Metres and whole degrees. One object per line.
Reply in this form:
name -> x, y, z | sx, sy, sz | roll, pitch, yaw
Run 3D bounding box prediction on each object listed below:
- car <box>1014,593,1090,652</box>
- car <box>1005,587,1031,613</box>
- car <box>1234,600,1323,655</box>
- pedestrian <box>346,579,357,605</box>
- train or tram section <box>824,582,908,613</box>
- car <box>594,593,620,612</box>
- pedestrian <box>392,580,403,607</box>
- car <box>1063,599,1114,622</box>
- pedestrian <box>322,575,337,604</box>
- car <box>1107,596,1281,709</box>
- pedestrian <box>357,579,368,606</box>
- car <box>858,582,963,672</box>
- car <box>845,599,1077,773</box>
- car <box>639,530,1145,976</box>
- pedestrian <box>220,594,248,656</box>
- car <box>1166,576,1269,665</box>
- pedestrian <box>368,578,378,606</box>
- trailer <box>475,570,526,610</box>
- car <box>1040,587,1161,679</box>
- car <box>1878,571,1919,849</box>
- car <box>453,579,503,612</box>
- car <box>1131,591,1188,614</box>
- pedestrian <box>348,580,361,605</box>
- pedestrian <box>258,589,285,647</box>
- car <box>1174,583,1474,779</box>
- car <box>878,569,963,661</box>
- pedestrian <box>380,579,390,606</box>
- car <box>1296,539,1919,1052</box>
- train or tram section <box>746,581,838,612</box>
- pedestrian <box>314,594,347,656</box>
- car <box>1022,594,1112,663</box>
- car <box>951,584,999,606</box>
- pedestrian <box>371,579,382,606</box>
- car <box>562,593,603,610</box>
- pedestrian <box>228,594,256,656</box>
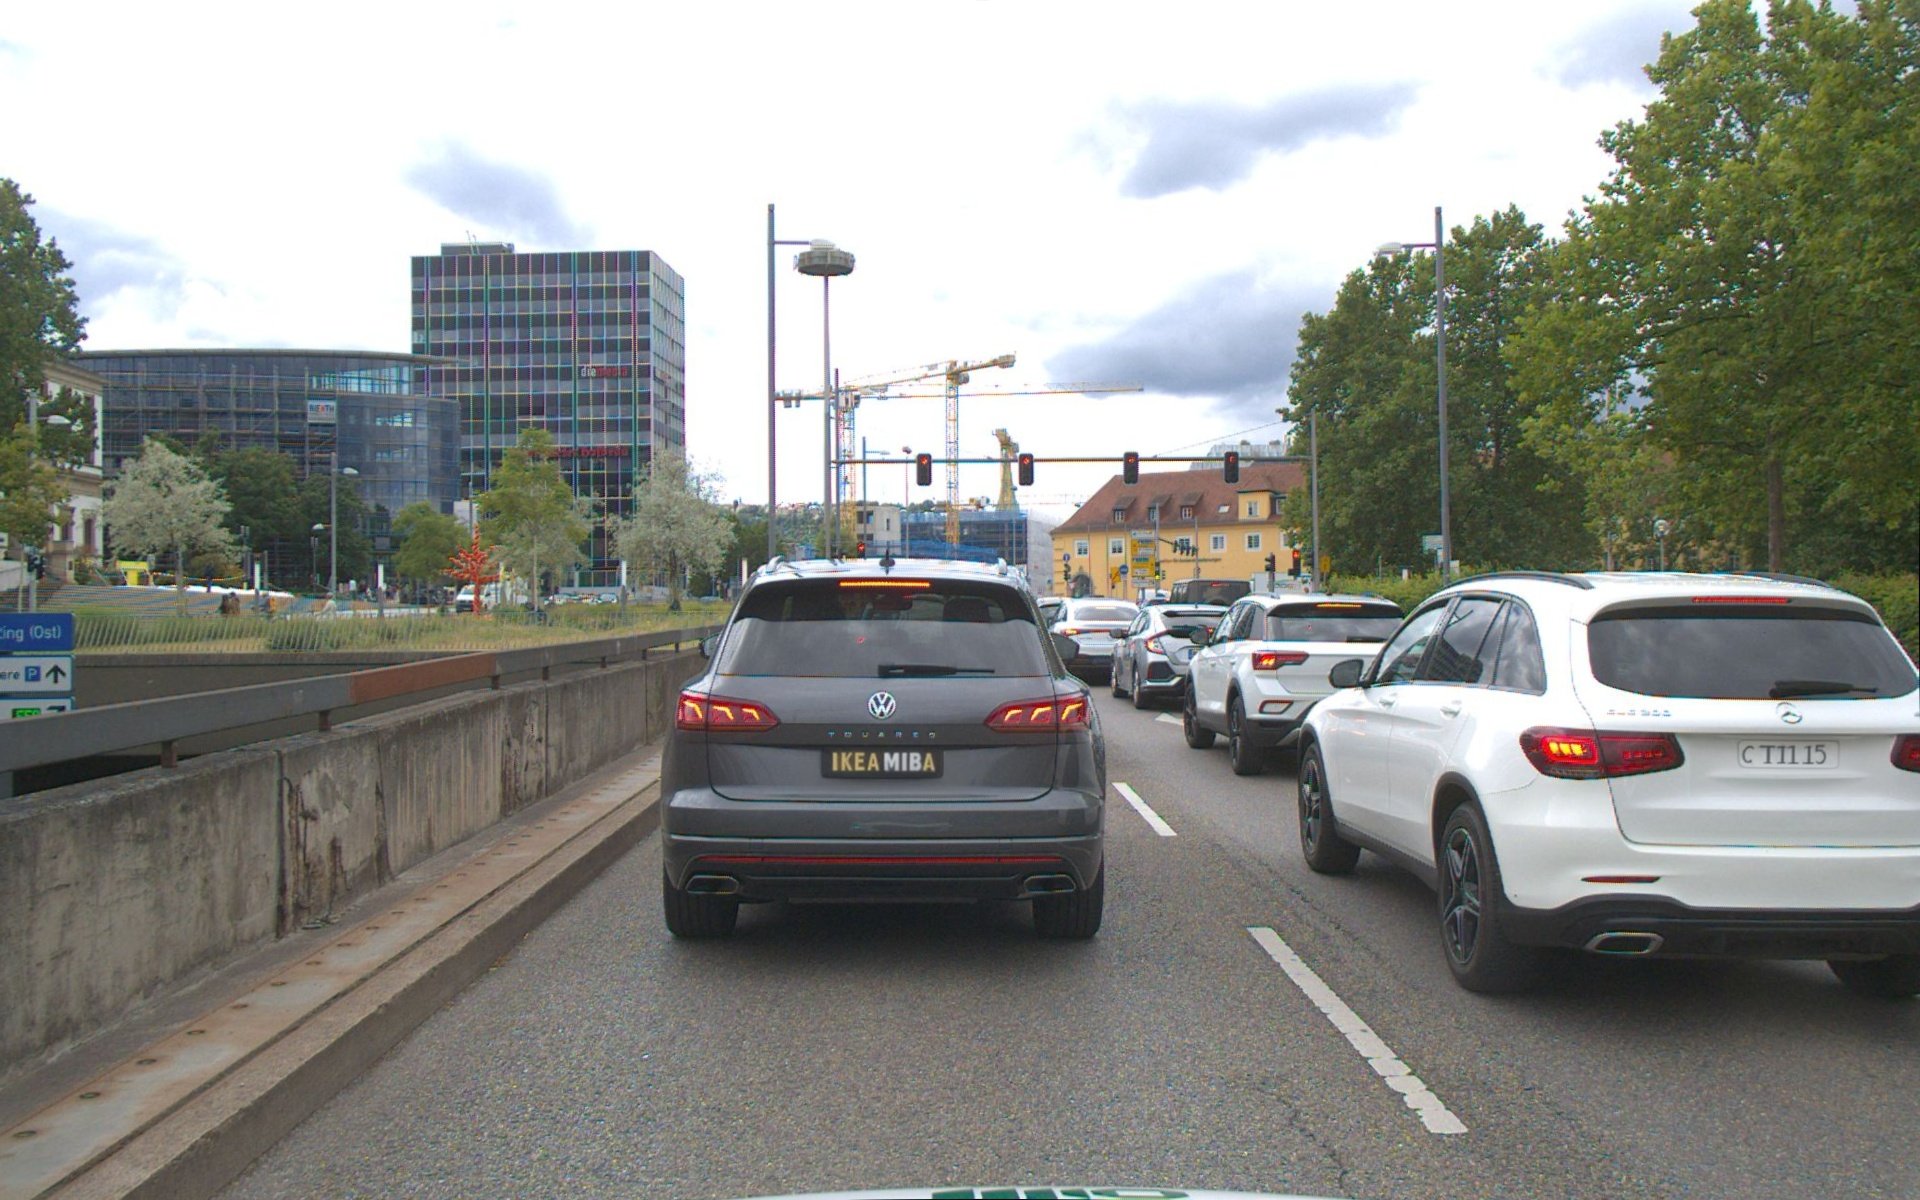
car -> 2.488, 0.614, 45.721 | 1.887, 1.556, 4.047 | 1, -1, 0
car -> 3.951, 0.014, 113.227 | 1.586, 1.656, 3.999 | 2, -1, 0
car -> 9.121, 0.768, 47.601 | 1.722, 1.472, 3.632 | 2, -1, -2
pedestrian -> -47.393, -0.626, 128.842 | 0.728, 2.048, 0.788 | -1, 1, -21
train or tram section -> -9.858, -0.257, 173.733 | 8.754, 3.062, 2.592 | 1, -2, 29
car -> -31.343, 0.241, 146.912 | 1.698, 1.521, 3.592 | 2, -1, -3
pedestrian -> -43.582, -0.523, 128.146 | 0.728, 2.048, 1.108 | -1, 1, -21
car -> 11.787, 0.948, 151.955 | 4.367, 2.049, 1.697 | 1, -2, 33
pedestrian -> -45.351, -0.780, 118.914 | 0.724, 2.048, 1.113 | -1, 1, -6
car -> 3.265, 0.709, 23.902 | 1.887, 1.457, 4.489 | 1, -1, 0
pedestrian -> -46.649, -0.599, 129.096 | 0.728, 2.048, 0.788 | -1, 1, -21
car -> -0.960, 0.504, 32.701 | 1.912, 1.627, 3.930 | 2, 0, -1
car -> -0.030, 0.724, 15.852 | 1.912, 1.408, 3.930 | 2, 0, -1
car -> -0.298, 0.588, 8.341 | 1.912, 1.680, 3.999 | 1, 0, -1
pedestrian -> -24.197, 0.821, 55.111 | 0.781, 2.049, 0.829 | -1, 1, -28
car -> 6.309, 0.497, 40.916 | 1.871, 2.049, 4.011 | 2, -1, 0
pedestrian -> -44.707, -0.611, 125.977 | 0.728, 2.048, 1.108 | -1, 1, -21
trailer -> -31.552, -0.700, 113.751 | 1.996, 2.650, 5.507 | 2, 1, -1
car -> 2.519, 0.585, 30.613 | 1.887, 1.556, 4.489 | 1, -1, 0
car -> 6.800, 0.660, 8.234 | 1.953, 1.668, 4.302 | 0, 0, -2
car -> -31.900, -0.339, 109.667 | 1.953, 2.048, 4.692 | 0, 1, 0
car -> 15.575, 0.181, 129.210 | 4.029, 1.638, 1.823 | 1, -2, 34
pedestrian -> -48.459, -0.606, 132.392 | 0.723, 2.048, 0.793 | -1, 1, 0
pedestrian -> -25.140, 0.666, 60.403 | 0.716, 2.047, 0.628 | -1, 5, -8
car -> 3.260, 0.680, 15.740 | 1.887, 1.578, 4.489 | 1, -1, 0
car -> -0.947, 0.346, 40.110 | 1.912, 2.053, 3.930 | 2, 0, -1
pedestrian -> -43.925, -0.582, 126.329 | 0.728, 2.048, 0.788 | -1, 1, -21
car -> 2.953, 0.608, 7.682 | 1.887, 1.682, 4.490 | 0, 1, 0
train or tram section -> -18.155, -0.376, 178.355 | 10.199, 3.062, 2.592 | 1, -2, 29
pedestrian -> -21.239, 0.841, 55.846 | 0.842, 2.048, 0.629 | -1, 1, -2
car -> 2.494, 0.668, 39.433 | 1.887, 1.556, 4.047 | 1, -1, 0
car -> 1.448, -0.473, 163.618 | 4.367, 2.049, 1.994 | 1, -2, 33
pedestrian -> -44.851, -0.590, 127.099 | 0.728, 2.048, 0.788 | -1, 1, -21
car -> -37.694, 0.182, 165.101 | 4.142, 1.631, 1.746 | 1, -1, 35
pedestrian -> -24.270, 0.836, 55.941 | 0.781, 2.049, 0.829 | -1, 1, -28
